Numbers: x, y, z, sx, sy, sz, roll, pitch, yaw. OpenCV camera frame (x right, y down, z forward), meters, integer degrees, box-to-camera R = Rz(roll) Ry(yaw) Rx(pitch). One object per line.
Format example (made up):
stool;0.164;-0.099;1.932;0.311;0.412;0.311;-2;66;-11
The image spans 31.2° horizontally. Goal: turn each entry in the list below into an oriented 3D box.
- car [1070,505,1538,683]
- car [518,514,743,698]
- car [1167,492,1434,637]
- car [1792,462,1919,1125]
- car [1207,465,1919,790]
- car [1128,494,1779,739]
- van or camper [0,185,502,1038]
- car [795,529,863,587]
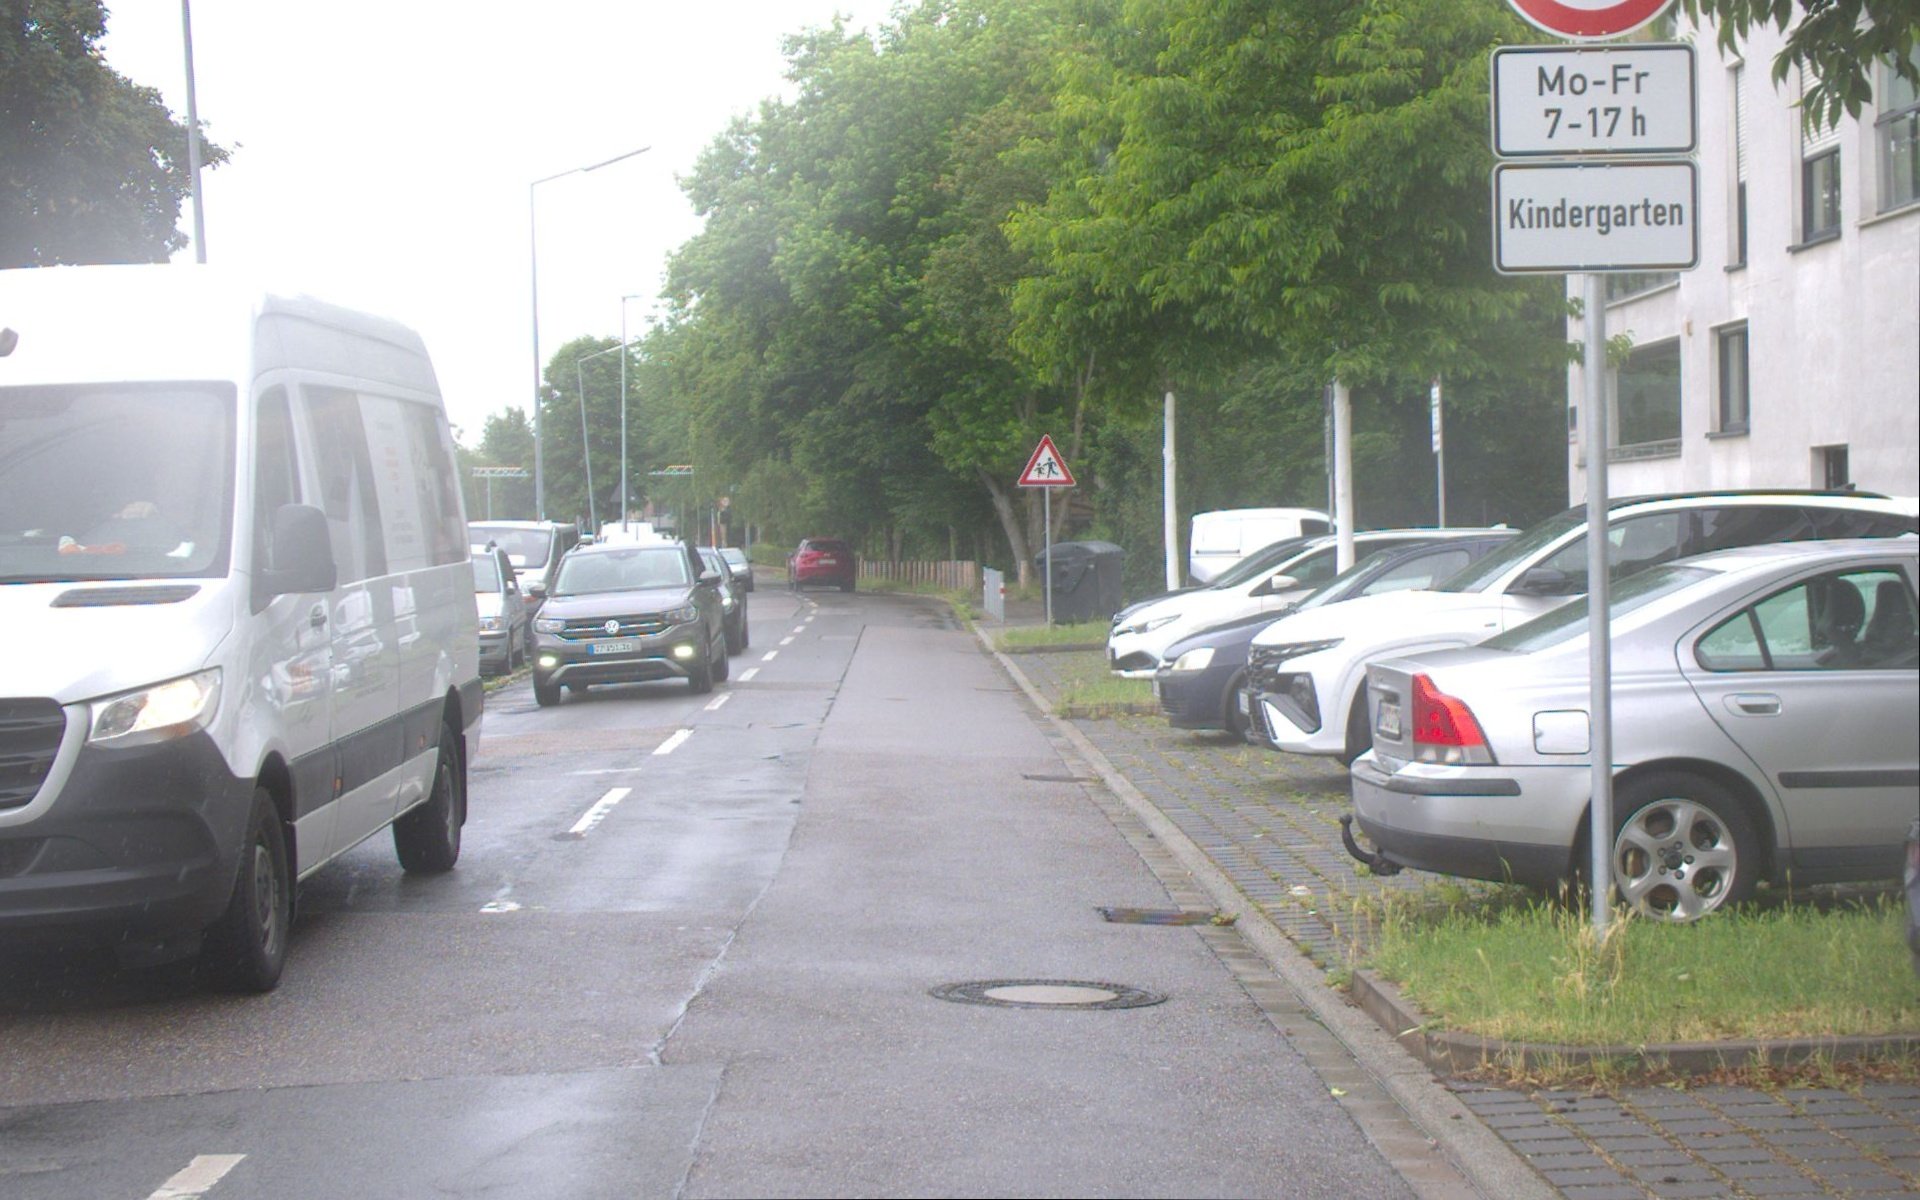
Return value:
car;3.239;-0.080;32.772;4.091;1.569;1.868;-1;1;-8
car;-3.315;0.014;35.303;1.881;1.751;4.068;-1;1;0
car;5.515;-0.589;55.702;3.991;2.285;1.775;1;1;20
car;4.238;0.429;8.362;3.882;1.595;1.864;-1;1;-6
car;3.773;0.126;20.500;4.387;1.770;2.006;-1;1;-1
car;3.499;0.090;25.000;4.387;1.628;2.006;-1;1;-1
van or camper;-3.319;-0.021;13.675;1.993;2.488;7.179;-2;1;0
car;-3.992;-1.303;105.331;1.756;1.700;4.000;-1;1;2
